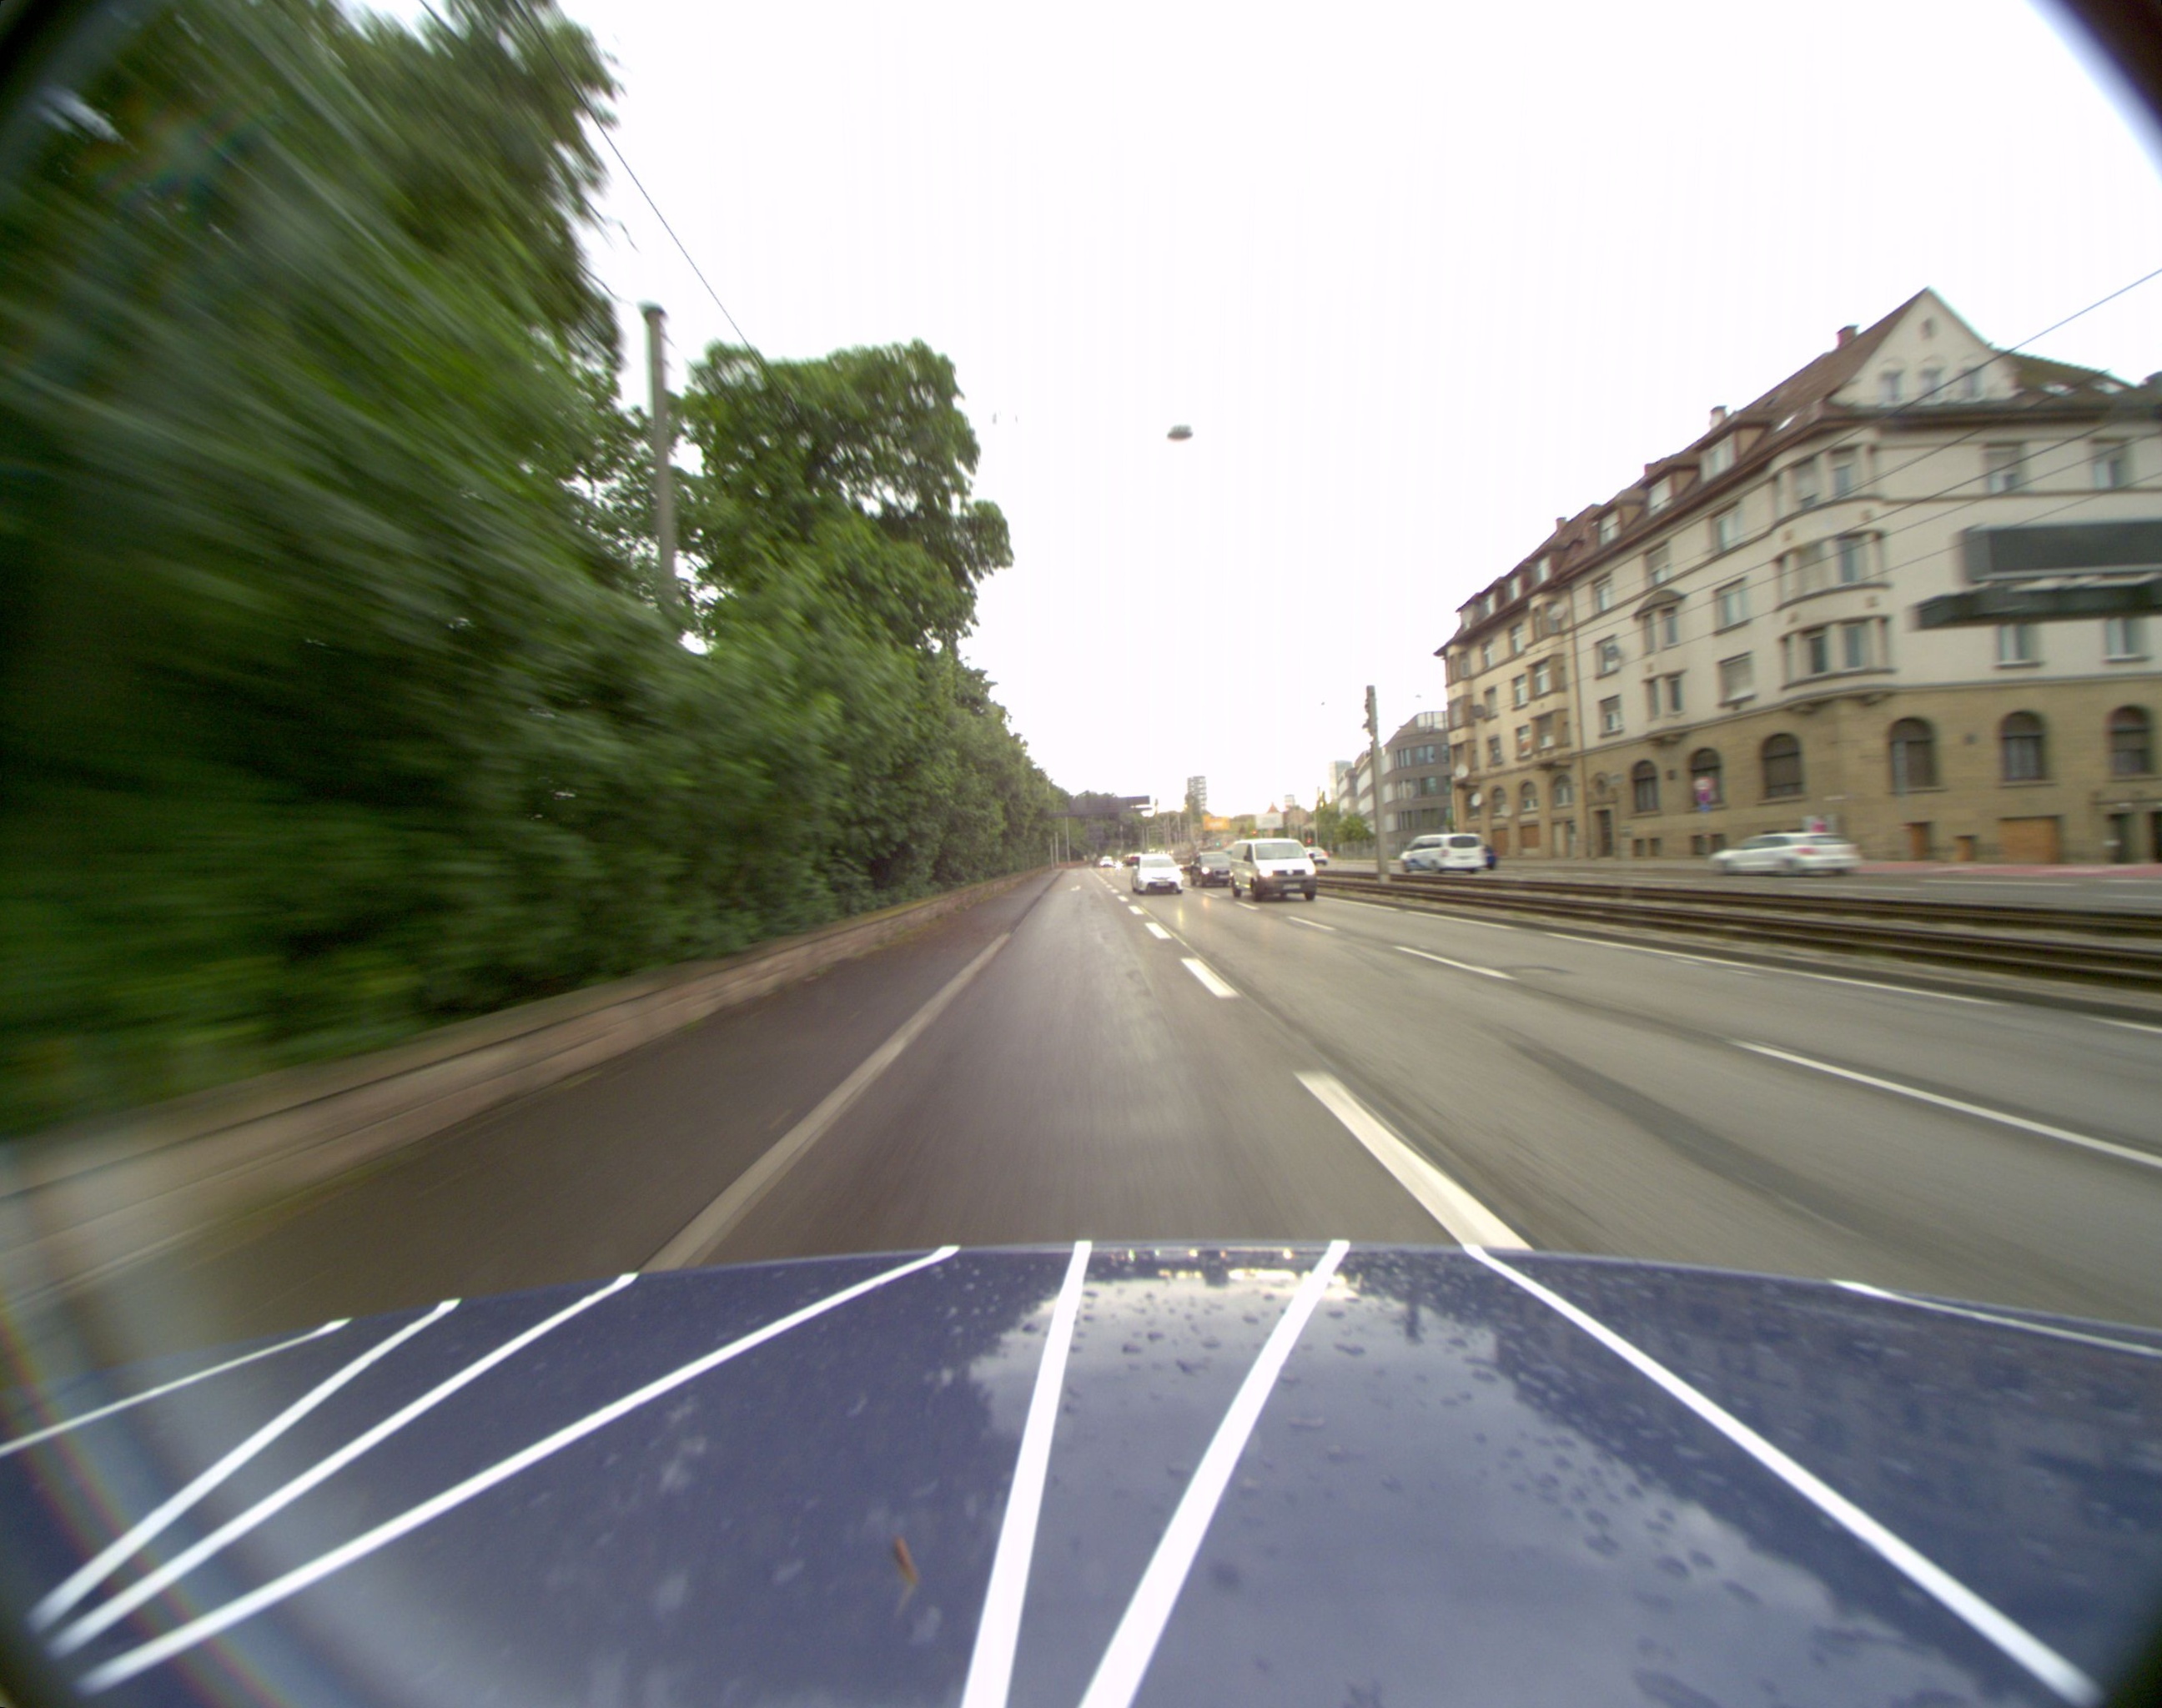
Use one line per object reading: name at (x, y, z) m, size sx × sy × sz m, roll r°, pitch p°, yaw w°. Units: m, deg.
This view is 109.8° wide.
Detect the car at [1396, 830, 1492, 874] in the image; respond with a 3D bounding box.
car at (17.292, -0.096, 36.531) m, size 1.999 × 1.863 × 5.192 m, roll -3°, pitch 0°, yaw -1°

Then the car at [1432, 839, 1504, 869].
car at (20.514, 0.010, 40.475) m, size 1.610 × 1.425 × 4.331 m, roll -3°, pitch 0°, yaw 0°

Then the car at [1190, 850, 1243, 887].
car at (6.256, 0.642, 35.381) m, size 1.708 × 1.564 × 3.896 m, roll -2°, pitch 0°, yaw 0°

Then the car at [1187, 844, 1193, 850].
car at (37.002, -2.337, 257.514) m, size 1.997 × 1.936 × 4.002 m, roll -2°, pitch 1°, yaw 9°

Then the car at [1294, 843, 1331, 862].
car at (20.544, -0.109, 67.586) m, size 1.725 × 1.583 × 4.742 m, roll -1°, pitch 0°, yaw -1°

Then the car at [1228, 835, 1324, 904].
car at (6.229, 0.460, 24.843) m, size 1.914 × 1.947 × 4.718 m, roll -3°, pitch 0°, yaw 1°

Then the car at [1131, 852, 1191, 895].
car at (3.207, 0.753, 31.354) m, size 1.982 × 1.564 × 4.318 m, roll -2°, pitch 0°, yaw 0°

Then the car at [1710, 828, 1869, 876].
car at (23.345, -0.056, 25.259) m, size 1.684 × 1.396 × 3.851 m, roll -3°, pitch 0°, yaw 0°

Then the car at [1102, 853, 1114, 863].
car at (4.409, 0.620, 125.264) m, size 1.710 × 1.585 × 4.000 m, roll -3°, pitch 0°, yaw 0°
